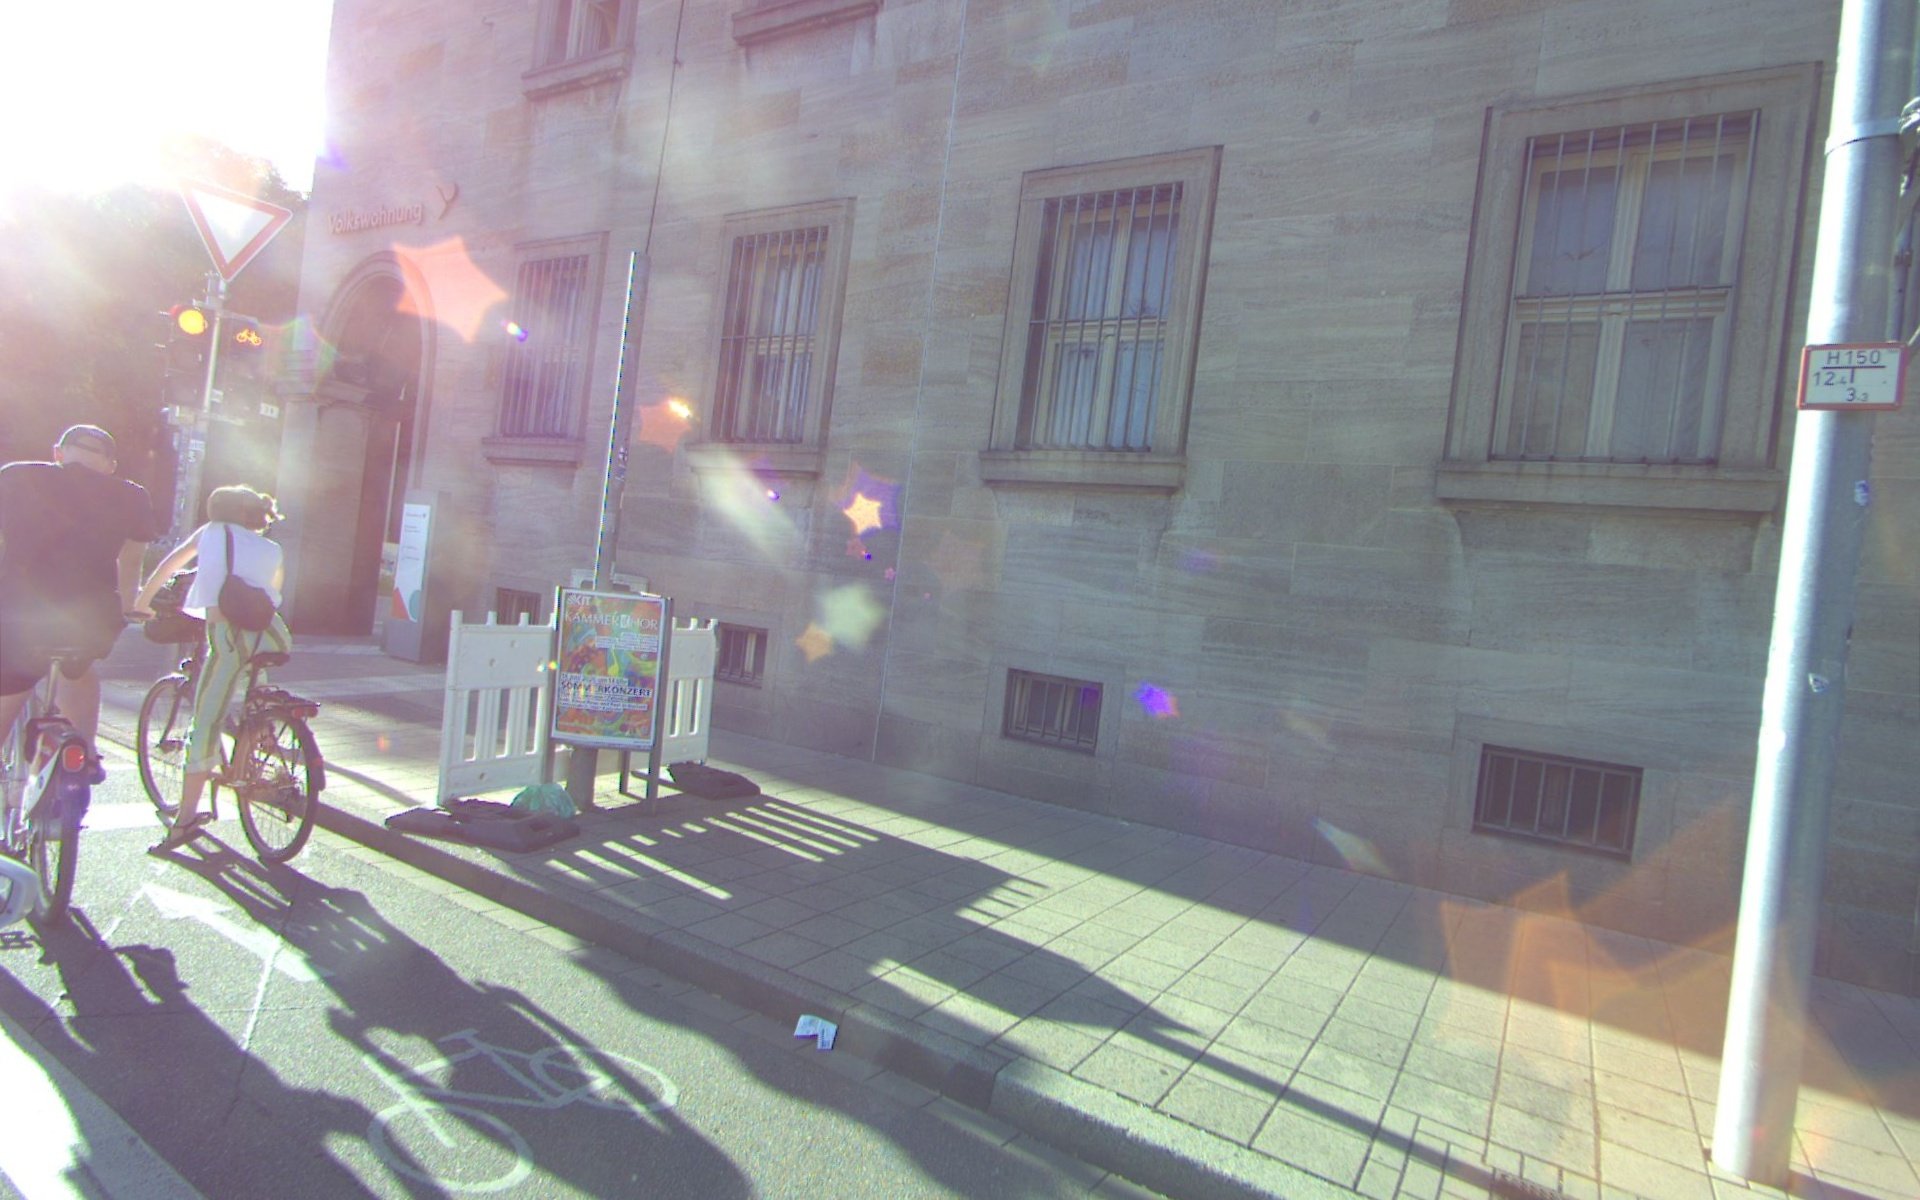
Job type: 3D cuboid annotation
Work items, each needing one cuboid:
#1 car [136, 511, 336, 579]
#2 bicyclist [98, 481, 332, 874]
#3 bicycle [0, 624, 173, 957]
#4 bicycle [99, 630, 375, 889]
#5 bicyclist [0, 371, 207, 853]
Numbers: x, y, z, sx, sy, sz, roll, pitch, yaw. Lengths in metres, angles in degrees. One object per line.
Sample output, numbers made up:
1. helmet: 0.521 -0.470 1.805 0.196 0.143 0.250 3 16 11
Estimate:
1. car: -21.531 -1.609 30.099 1.748 1.345 4.446 7 -1 34
2. bicyclist: -3.582 0.332 4.830 0.845 1.700 0.522 7 1 35
3. bicycle: -3.718 0.656 4.083 1.923 0.916 0.388 7 0 41
4. bicycle: -3.633 0.710 4.981 1.920 0.887 0.427 7 0 35
5. bicyclist: -3.499 0.048 3.900 0.647 1.698 0.669 7 1 41
